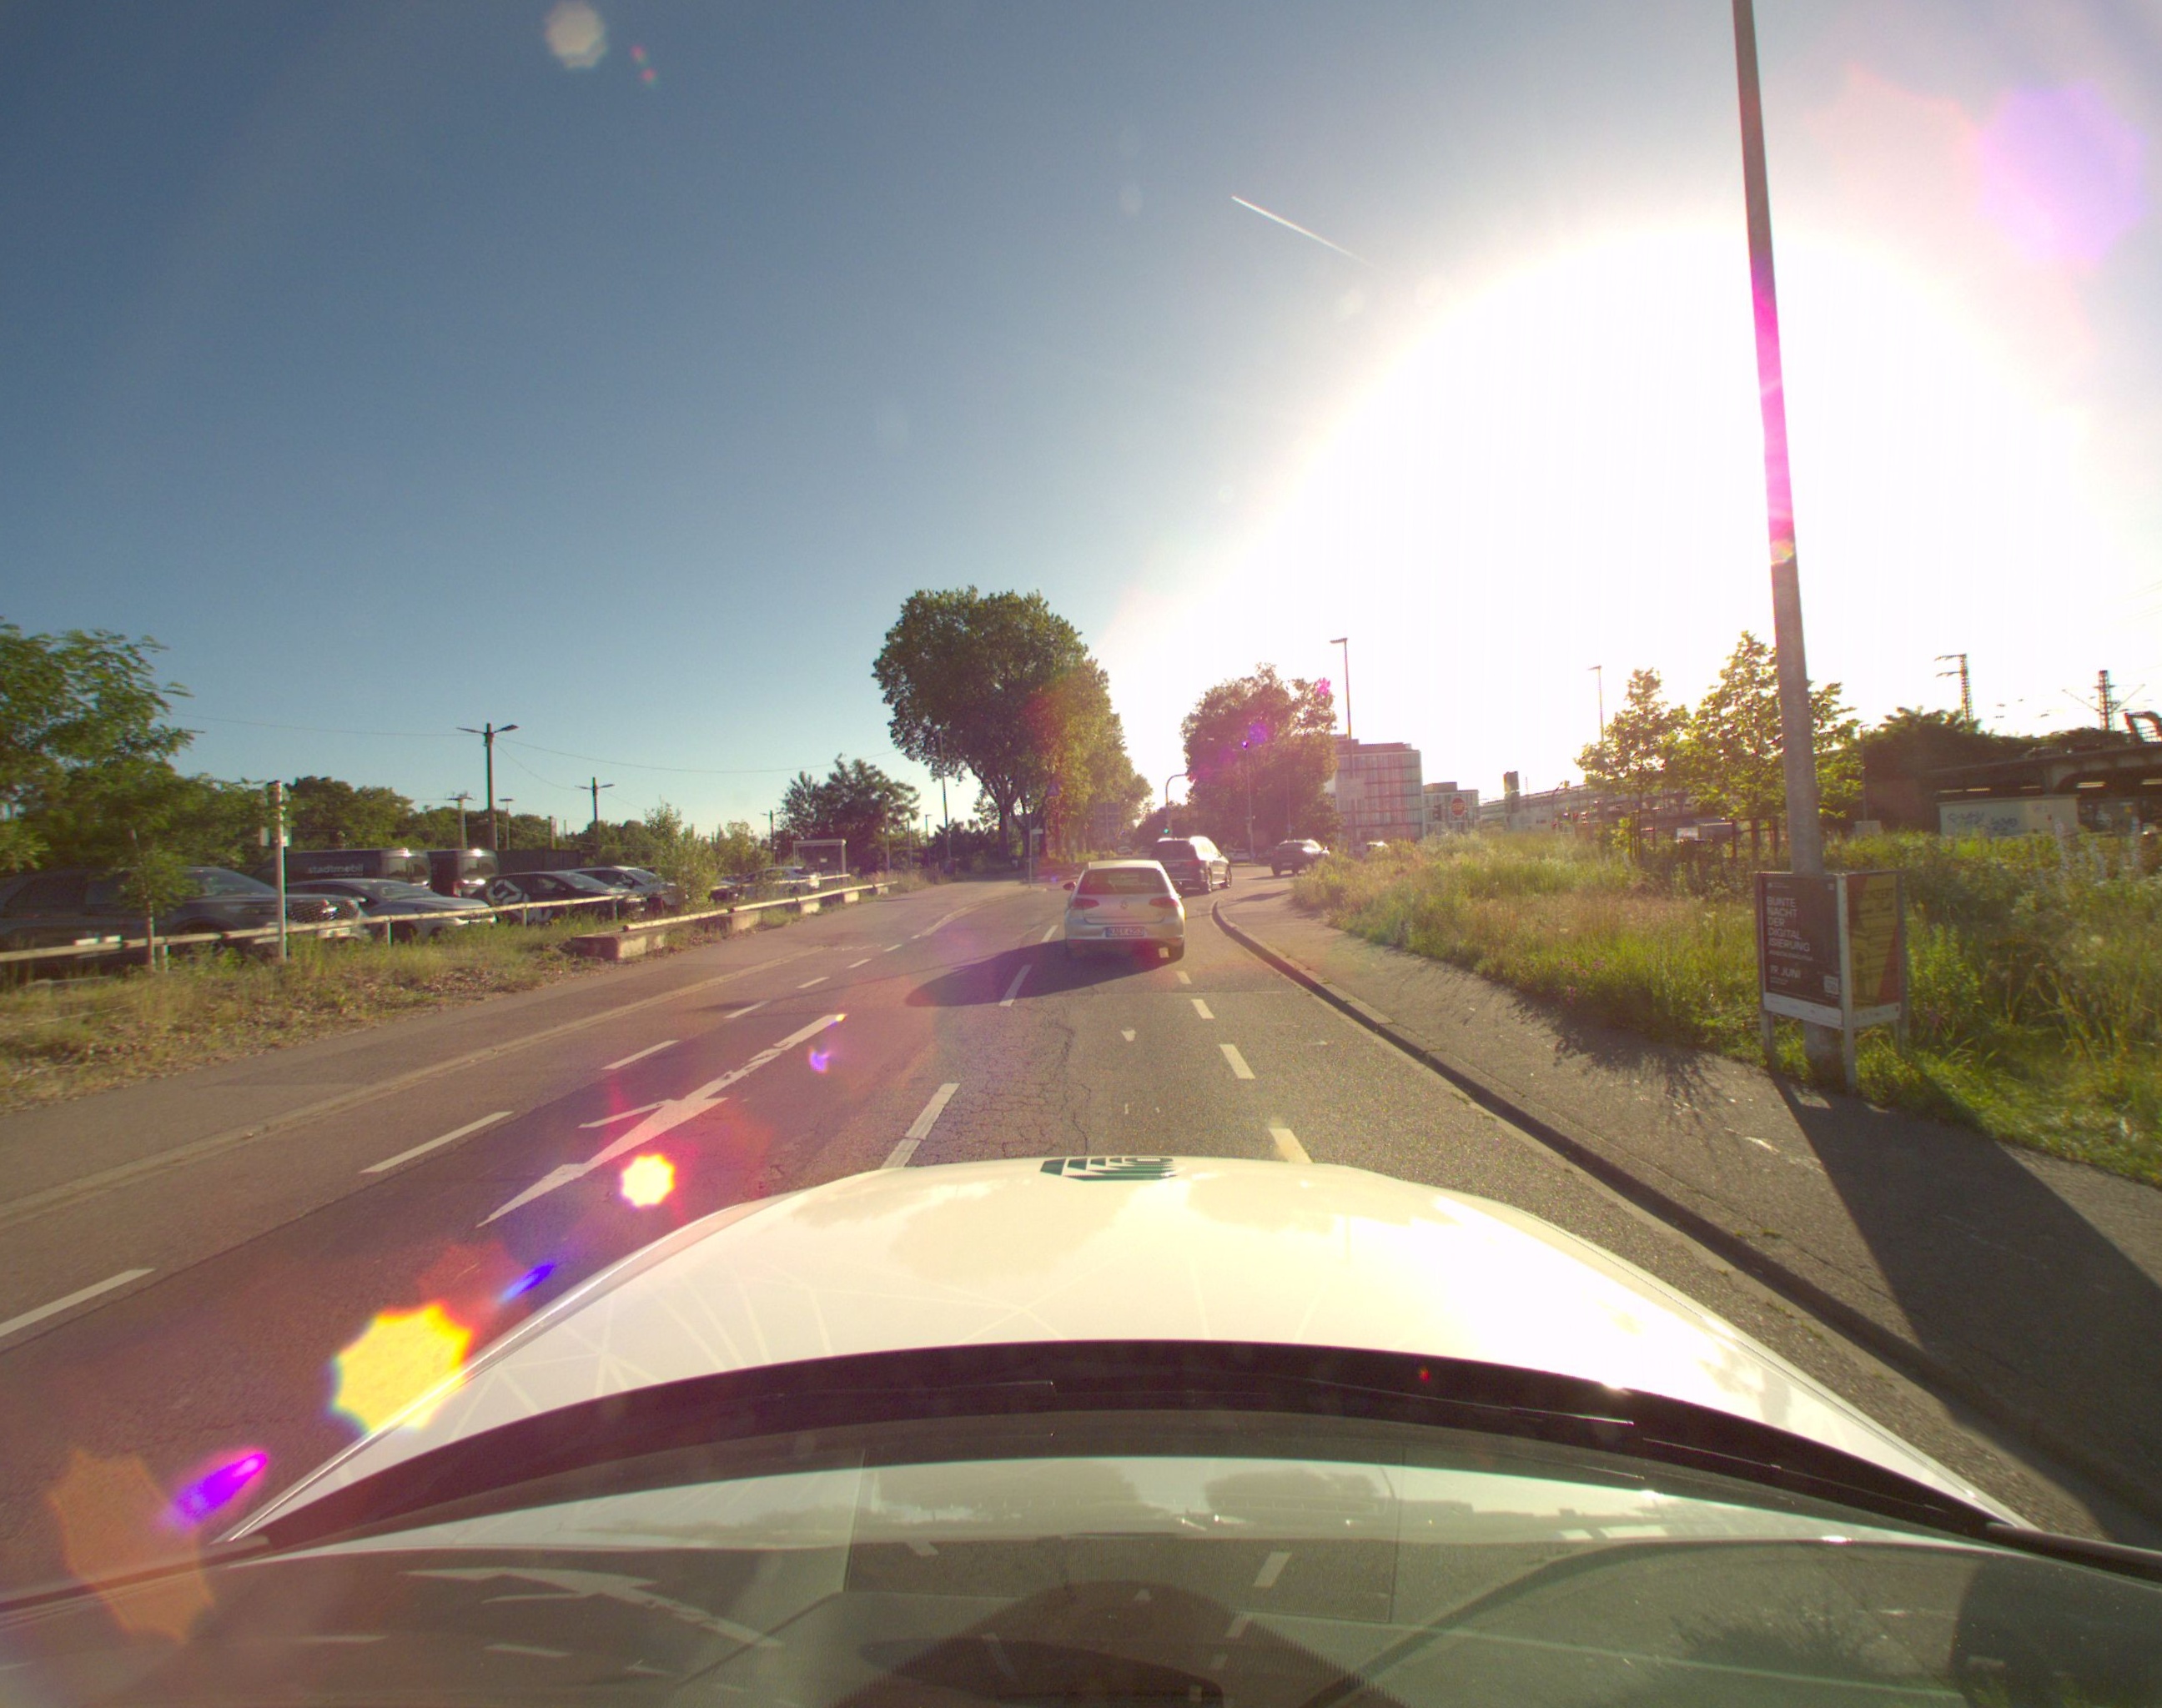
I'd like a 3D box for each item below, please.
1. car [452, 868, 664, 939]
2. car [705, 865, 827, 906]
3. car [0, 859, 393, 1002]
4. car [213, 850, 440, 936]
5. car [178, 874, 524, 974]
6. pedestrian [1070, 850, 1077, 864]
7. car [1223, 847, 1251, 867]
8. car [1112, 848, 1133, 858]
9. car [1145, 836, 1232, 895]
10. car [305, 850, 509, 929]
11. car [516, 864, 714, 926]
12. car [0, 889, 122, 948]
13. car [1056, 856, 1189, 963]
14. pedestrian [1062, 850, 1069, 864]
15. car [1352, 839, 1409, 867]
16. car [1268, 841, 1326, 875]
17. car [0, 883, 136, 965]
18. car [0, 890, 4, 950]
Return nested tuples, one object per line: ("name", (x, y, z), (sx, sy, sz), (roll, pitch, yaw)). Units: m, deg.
("car", (-13.080, 1.218, 20.558), (4.074, 1.557, 1.878), (-2, 0, 0))
("car", (-13.327, 1.327, 34.665), (4.410, 1.557, 1.878), (-2, 0, 0))
("car", (-13.572, 1.073, 12.167), (4.829, 1.835, 2.000), (-2, 0, 0))
("car", (-23.549, 1.173, 25.596), (4.910, 2.460, 2.320), (-2, 0, 0))
("car", (-13.365, 1.233, 15.141), (4.579, 1.557, 2.000), (-2, 0, 0))
("pedestrian", (-0.794, 0.318, 88.959), (0.676, 1.415, 0.685), (-2, 0, 2))
("car", (15.769, 0.313, 82.533), (1.988, 1.860, 3.998), (-2, -1, -1))
("car", (8.747, -0.296, 172.505), (3.948, 2.013, 2.013), (-2, 0, 36))
("car", (3.725, 0.347, 27.502), (1.803, 1.769, 4.654), (-2, 0, 21))
("car", (-23.254, 1.176, 28.264), (5.079, 2.460, 2.320), (-2, 0, 0))
("car", (-13.259, 1.138, 23.368), (4.527, 1.557, 1.878), (-2, 0, 0))
("car", (-30.816, 1.874, 23.629), (3.972, 1.594, 1.707), (-2, -2, 2))
("car", (0.781, 0.771, 13.188), (1.781, 1.420, 4.007), (-2, 0, 6))
("pedestrian", (-1.727, 0.327, 89.124), (0.676, 1.415, 0.685), (-2, 0, 2))
("car", (18.200, -0.065, 49.413), (1.880, 1.596, 4.025), (-2, 0, 42))
("car", (10.470, 0.172, 39.298), (1.897, 1.529, 4.433), (-2, 0, 25))
("car", (-24.139, 1.552, 17.975), (4.307, 1.618, 1.878), (-2, 0, 0))
("car", (-30.898, 1.812, 21.029), (3.972, 1.594, 1.707), (-2, -2, 2))
